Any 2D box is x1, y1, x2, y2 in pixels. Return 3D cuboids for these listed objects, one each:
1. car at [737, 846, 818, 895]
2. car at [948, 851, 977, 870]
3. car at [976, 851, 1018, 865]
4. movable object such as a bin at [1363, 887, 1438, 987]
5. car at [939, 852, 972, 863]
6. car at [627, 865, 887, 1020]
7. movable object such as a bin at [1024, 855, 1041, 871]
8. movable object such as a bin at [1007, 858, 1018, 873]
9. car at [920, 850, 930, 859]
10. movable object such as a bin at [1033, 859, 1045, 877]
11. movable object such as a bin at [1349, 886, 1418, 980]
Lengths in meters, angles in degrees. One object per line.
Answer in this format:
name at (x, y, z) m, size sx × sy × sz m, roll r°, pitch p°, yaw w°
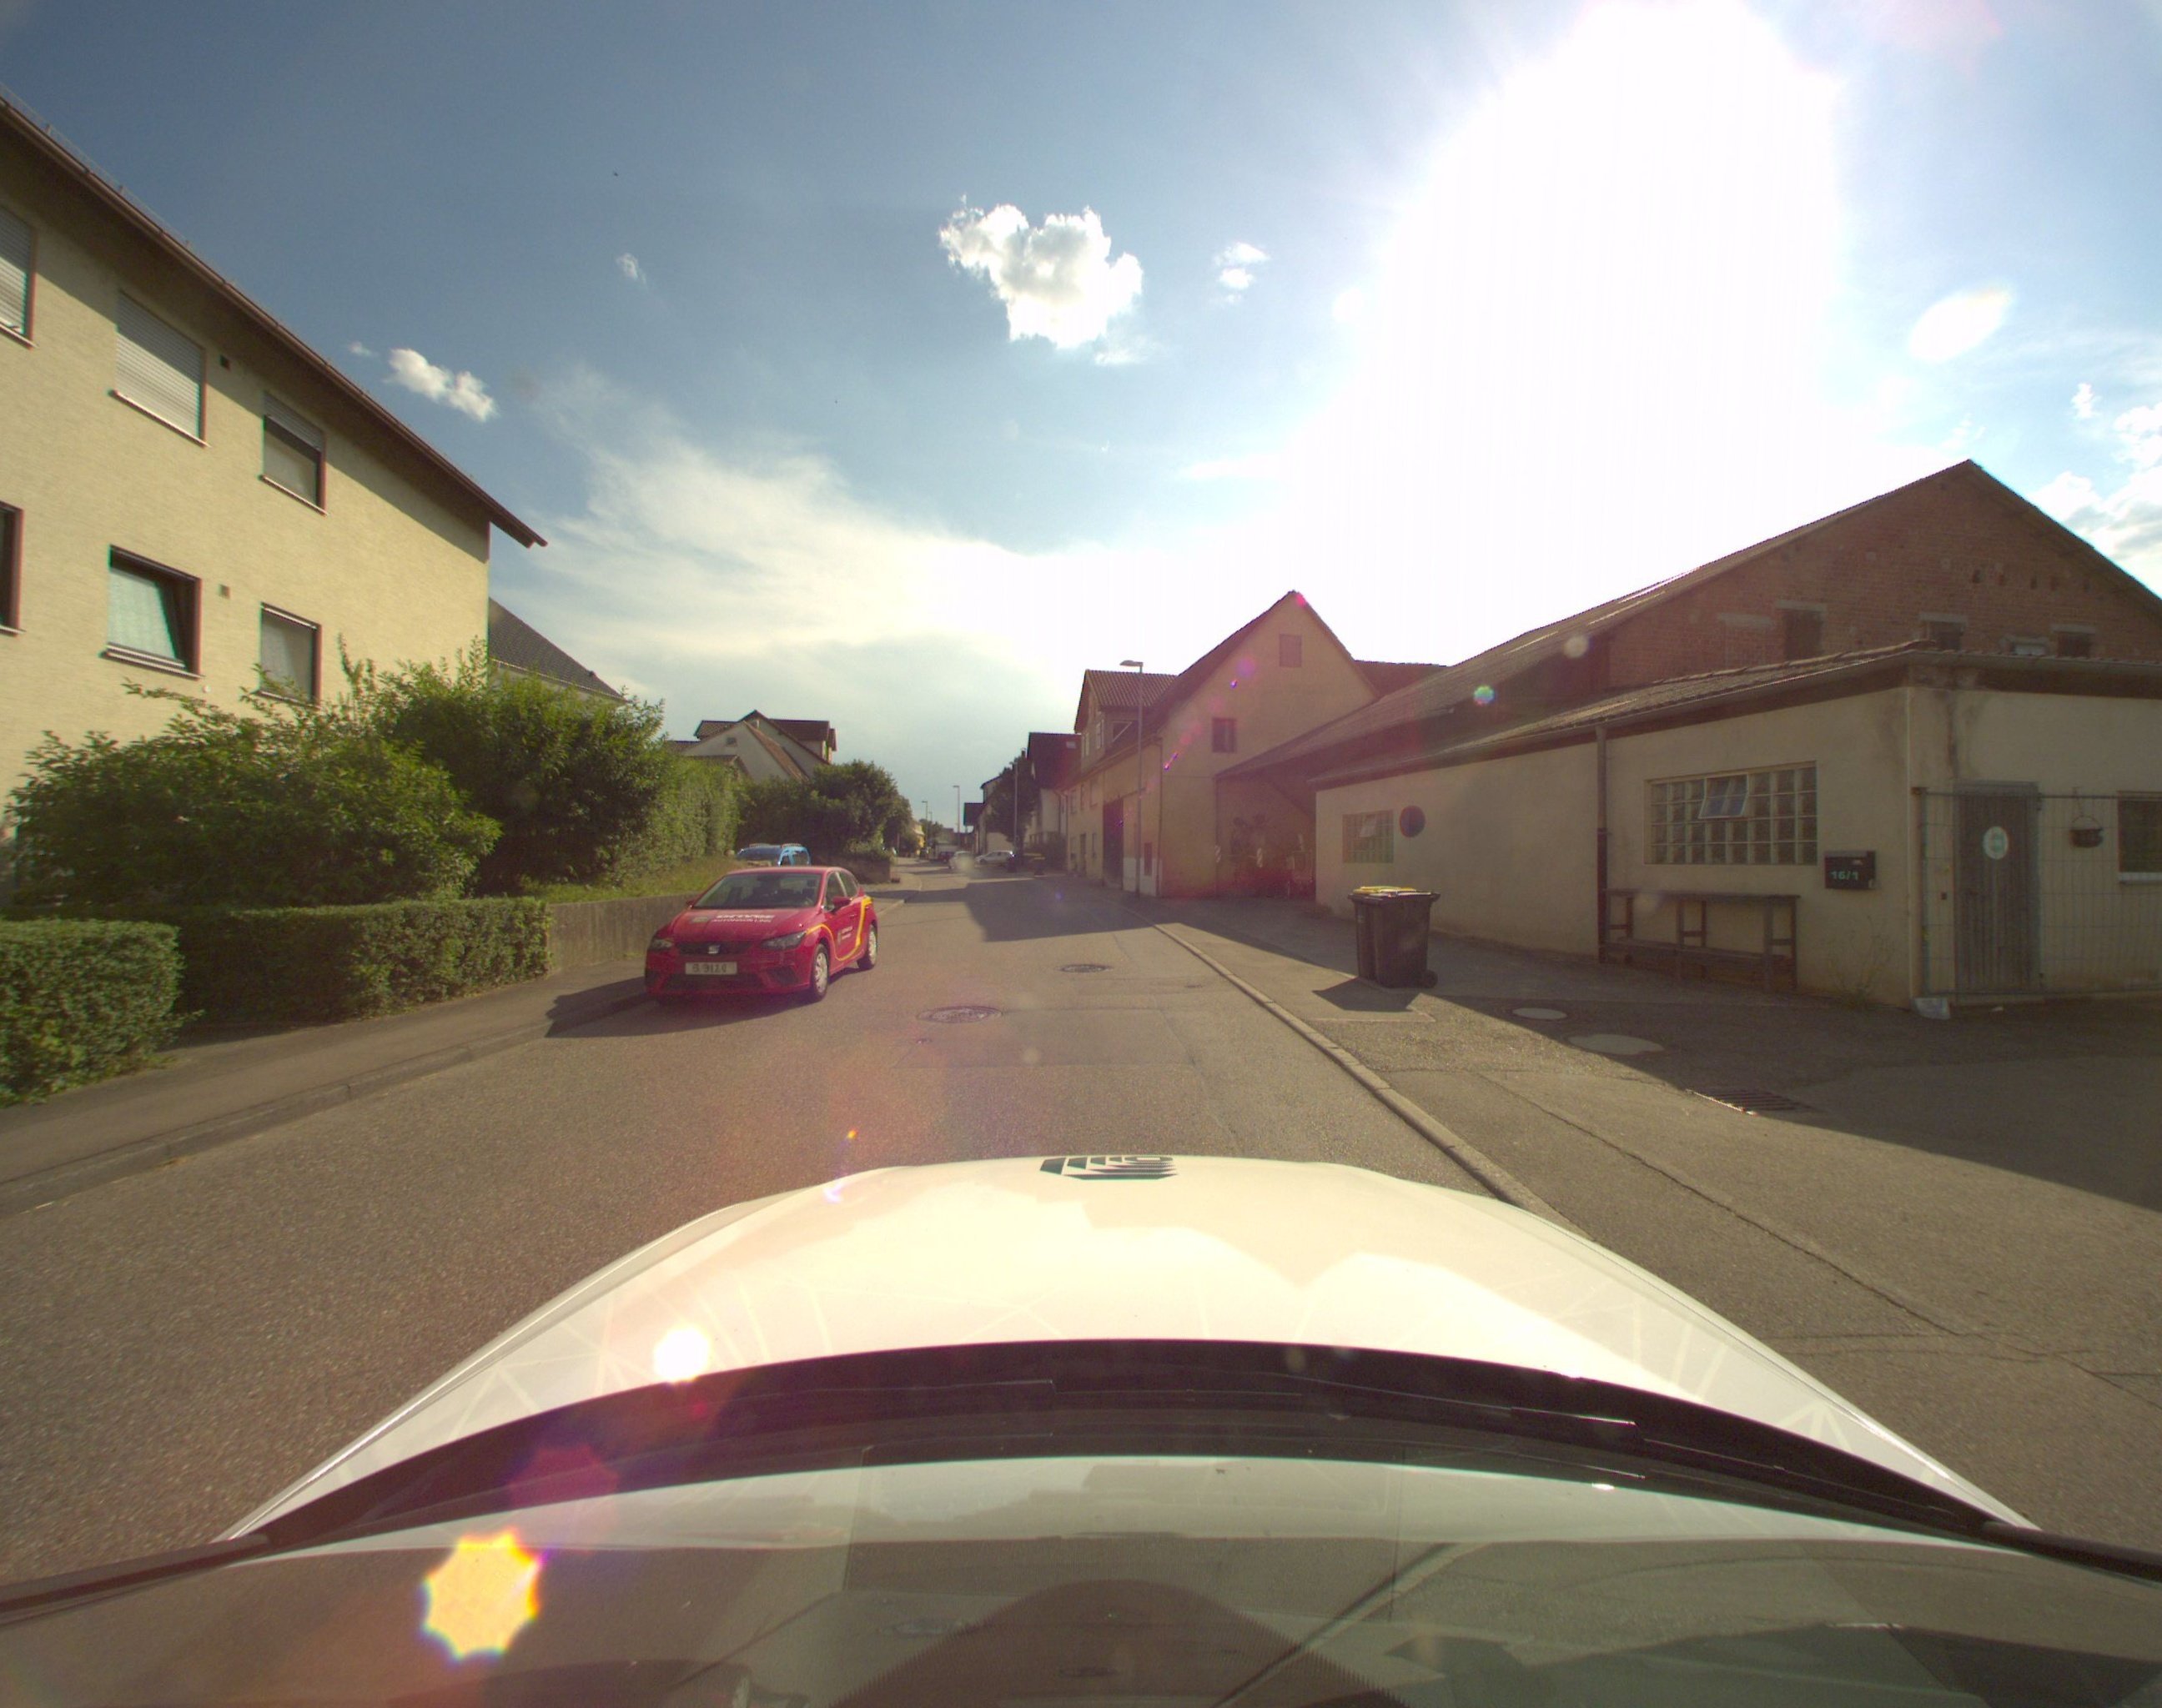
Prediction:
car at (-9.181, 0.491, 24.869) m, size 1.356 × 1.372 × 3.192 m, roll -2°, pitch -1°, yaw -3°
car at (-10.181, 0.542, 69.841) m, size 1.710 × 1.578 × 3.974 m, roll 0°, pitch 0°, yaw -20°
car at (-8.171, 0.366, 79.496) m, size 3.980 × 1.352 × 1.708 m, roll 0°, pitch 0°, yaw -5°
movable object such as a bin at (3.609, 0.927, 9.236) m, size 0.650 × 1.073 × 0.513 m, roll 0°, pitch 0°, yaw 1°
car at (-15.226, 0.417, 98.751) m, size 3.988 × 1.352 × 1.704 m, roll 0°, pitch 0°, yaw -11°
car at (-3.586, 0.877, 9.777) m, size 1.704 × 1.435 × 3.776 m, roll -2°, pitch -1°, yaw -3°
movable object such as a bin at (-3.488, 0.650, 58.888) m, size 1.160 × 1.168 × 0.653 m, roll 0°, pitch 0°, yaw -8°
movable object such as a bin at (-4.801, 0.798, 57.062) m, size 0.653 × 1.073 × 0.511 m, roll 0°, pitch 0°, yaw -12°
car at (-28.301, 0.106, 147.443) m, size 1.705 × 1.551 × 3.986 m, roll 0°, pitch 0°, yaw -10°
movable object such as a bin at (-2.531, 0.854, 48.722) m, size 0.653 × 1.073 × 0.511 m, roll 0°, pitch 0°, yaw -12°
movable object such as a bin at (3.626, 0.933, 9.795) m, size 0.650 × 1.073 × 0.513 m, roll 0°, pitch 0°, yaw 1°
